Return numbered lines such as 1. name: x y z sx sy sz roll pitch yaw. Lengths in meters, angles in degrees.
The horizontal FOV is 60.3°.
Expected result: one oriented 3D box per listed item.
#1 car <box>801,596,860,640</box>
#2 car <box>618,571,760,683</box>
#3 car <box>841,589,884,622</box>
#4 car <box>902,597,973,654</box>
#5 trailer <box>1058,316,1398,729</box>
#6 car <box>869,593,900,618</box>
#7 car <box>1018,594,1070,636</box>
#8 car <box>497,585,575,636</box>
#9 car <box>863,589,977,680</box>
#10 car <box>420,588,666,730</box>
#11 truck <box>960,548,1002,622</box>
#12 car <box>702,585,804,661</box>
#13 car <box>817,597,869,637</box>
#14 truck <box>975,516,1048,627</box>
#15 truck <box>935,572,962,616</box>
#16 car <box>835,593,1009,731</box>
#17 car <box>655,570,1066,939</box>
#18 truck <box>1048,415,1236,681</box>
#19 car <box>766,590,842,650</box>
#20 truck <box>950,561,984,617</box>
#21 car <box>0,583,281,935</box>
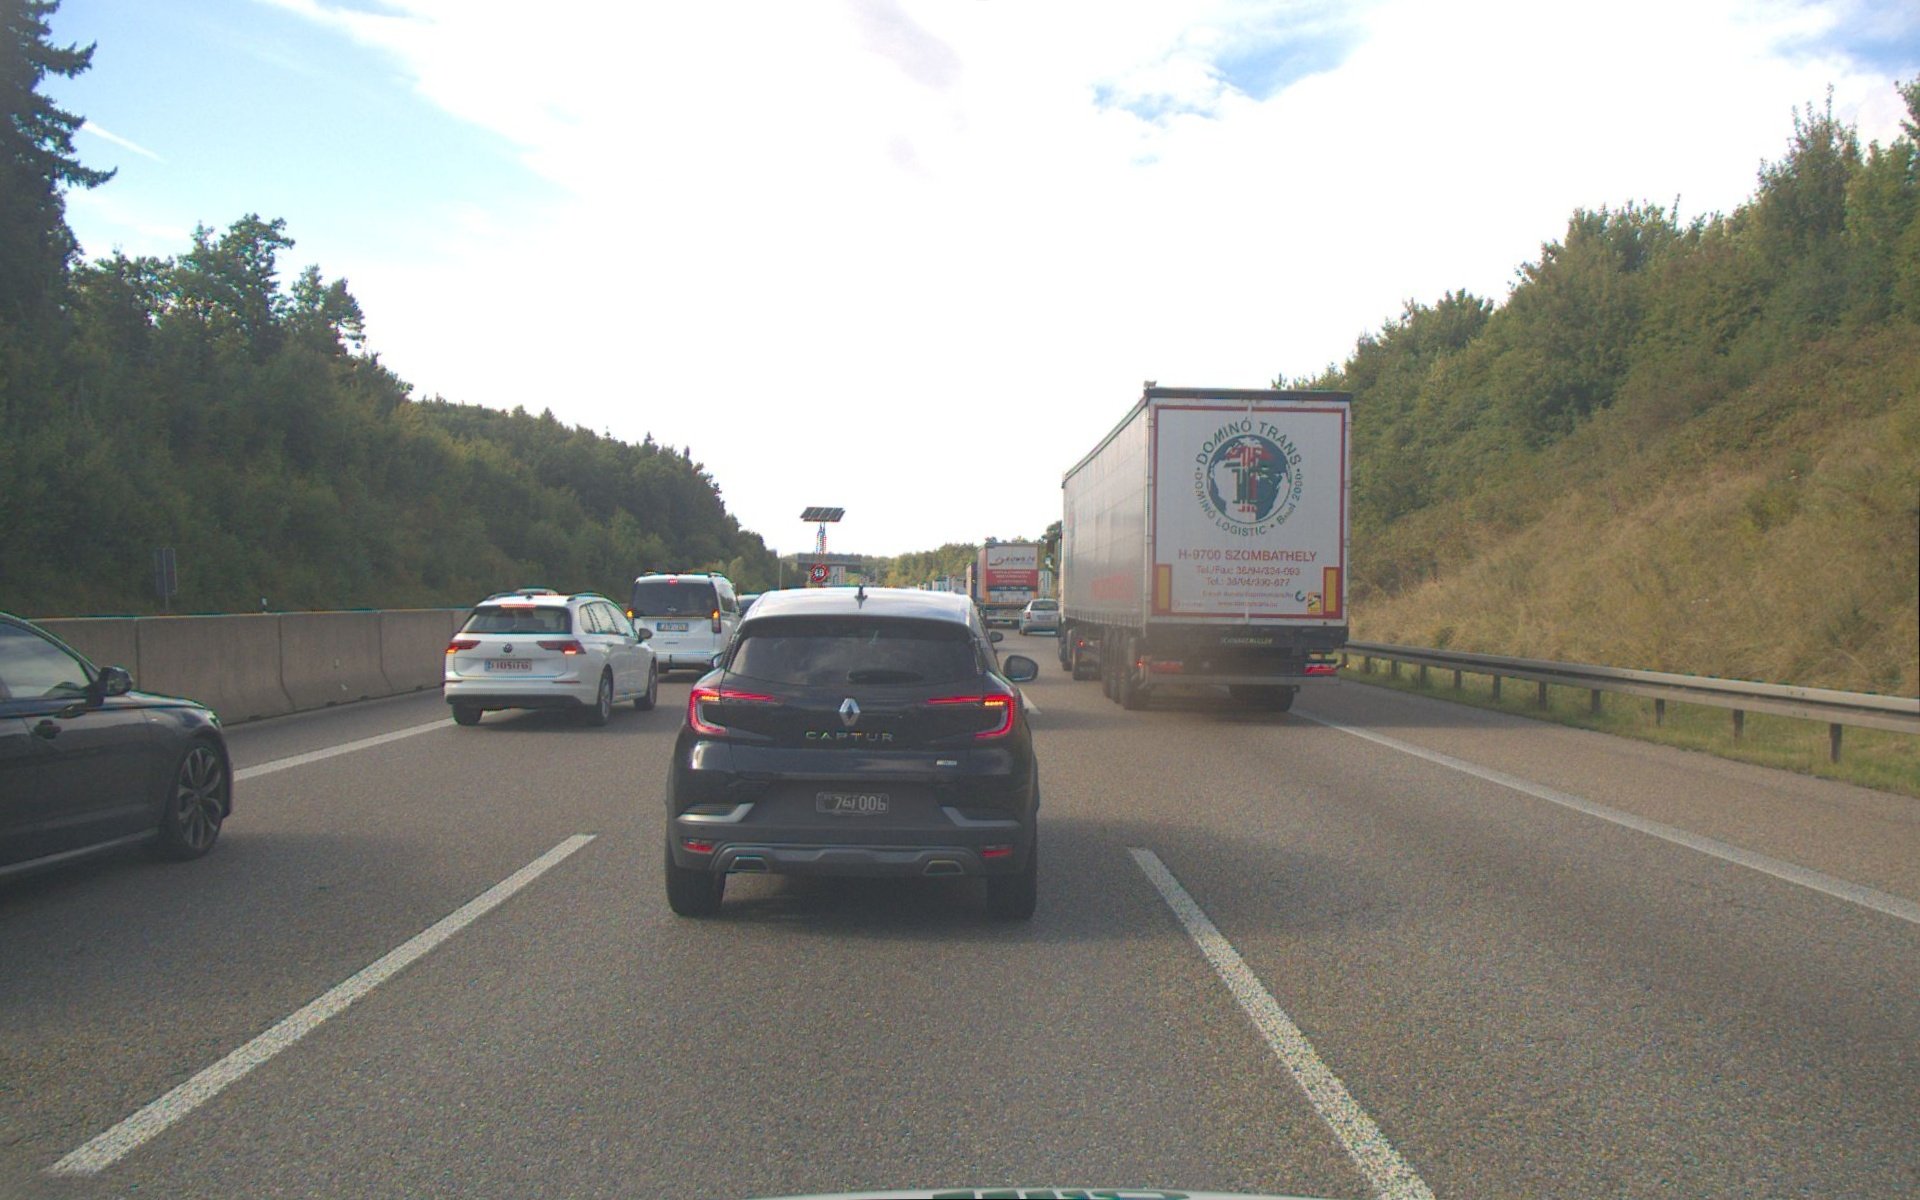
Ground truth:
1. car: -4.977 0.686 64.153 1.953 1.641 4.000 1 0 0
2. car: -4.754 0.458 29.604 1.873 1.821 4.416 1 0 -1
3. car: -5.039 0.274 85.994 1.953 1.641 4.000 1 0 0
4. car: -0.615 0.724 47.893 1.953 1.540 4.000 1 0 0
5. trailer: 3.505 -0.919 25.817 2.941 4.742 13.288 1 0 -1
6. car: -5.234 0.379 115.058 1.953 1.641 4.000 1 0 0
7. car: 3.325 0.593 66.000 1.768 1.559 3.924 1 0 -1
8. car: -16.160 0.386 63.199 1.814 1.841 4.624 1 0 -1
9. car: -0.691 0.616 30.654 1.953 1.540 4.000 1 0 0
10. car: -4.804 0.633 19.671 1.767 1.486 4.308 1 0 1
11. truck: 1.671 -1.085 132.509 3.101 5.601 12.737 1 0 0
12. car: -4.779 0.523 38.692 1.817 1.669 3.925 1 0 0
13. car: -5.059 0.735 72.182 1.953 1.641 4.000 1 0 0
14. truck: 2.464 -1.298 83.326 3.296 5.132 12.737 1 0 0
15. truck: -1.394 -0.682 207.215 3.101 5.250 12.737 1 0 0
16. car: -0.431 0.718 20.806 1.953 1.540 4.000 1 0 0
17. car: -0.365 0.667 9.144 1.767 1.579 4.001 0 0 2
18. truck: 3.426 -0.945 32.666 2.936 4.749 5.938 1 0 -1
19. car: -4.826 0.612 51.662 1.953 1.752 4.000 1 0 0
20. truck: 0.801 -1.069 174.557 3.101 5.601 12.739 1 0 2
21. car: -4.956 0.663 7.462 1.805 1.481 4.747 1 0 0
